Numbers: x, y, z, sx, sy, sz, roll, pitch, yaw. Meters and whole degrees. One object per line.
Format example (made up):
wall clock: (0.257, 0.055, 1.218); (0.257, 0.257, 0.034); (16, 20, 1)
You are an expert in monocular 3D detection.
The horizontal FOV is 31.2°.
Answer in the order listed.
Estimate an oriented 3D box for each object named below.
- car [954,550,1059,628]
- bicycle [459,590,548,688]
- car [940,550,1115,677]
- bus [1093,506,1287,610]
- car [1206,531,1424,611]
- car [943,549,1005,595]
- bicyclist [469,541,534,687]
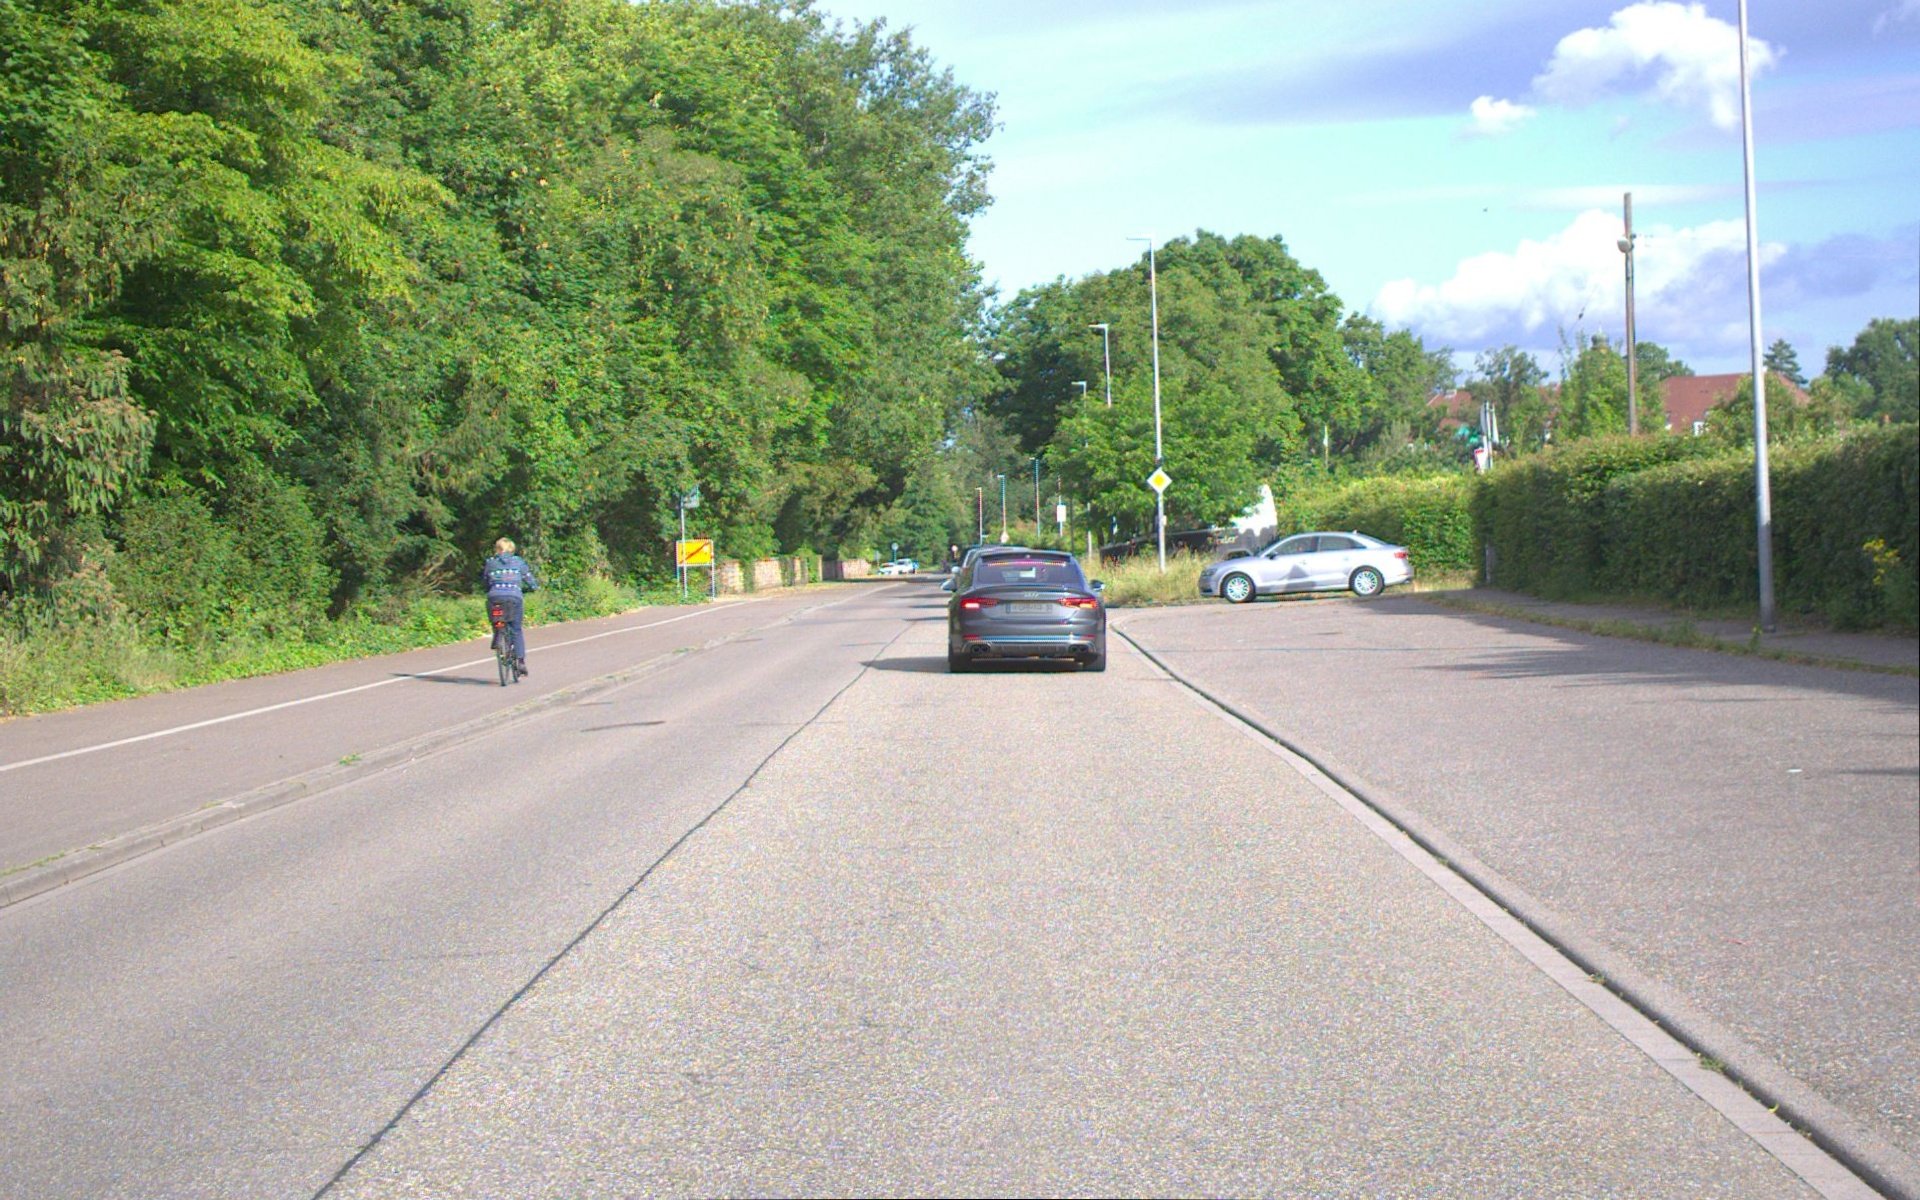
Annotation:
car: (0.840, -0.209, 64.965); (1.886, 1.367, 4.054); (-2, 0, 0)
bicycle: (-5.296, 0.438, 39.989); (0.662, 1.093, 2.348); (0, 1, 1)
car: (0.821, 0.129, 40.992); (1.966, 1.429, 4.336); (0, 1, 2)
bus: (6.729, -1.240, 100.865); (5.365, 2.737, 2.069); (-3, 1, -2)
car: (7.355, -0.586, 71.005); (4.363, 1.438, 1.932); (-3, 0, 8)
car: (0.437, -0.881, 108.351); (1.886, 1.367, 4.054); (-2, 0, 0)
bicyclist: (-5.306, 0.157, 39.801); (0.608, 1.671, 0.884); (0, 0, 1)
